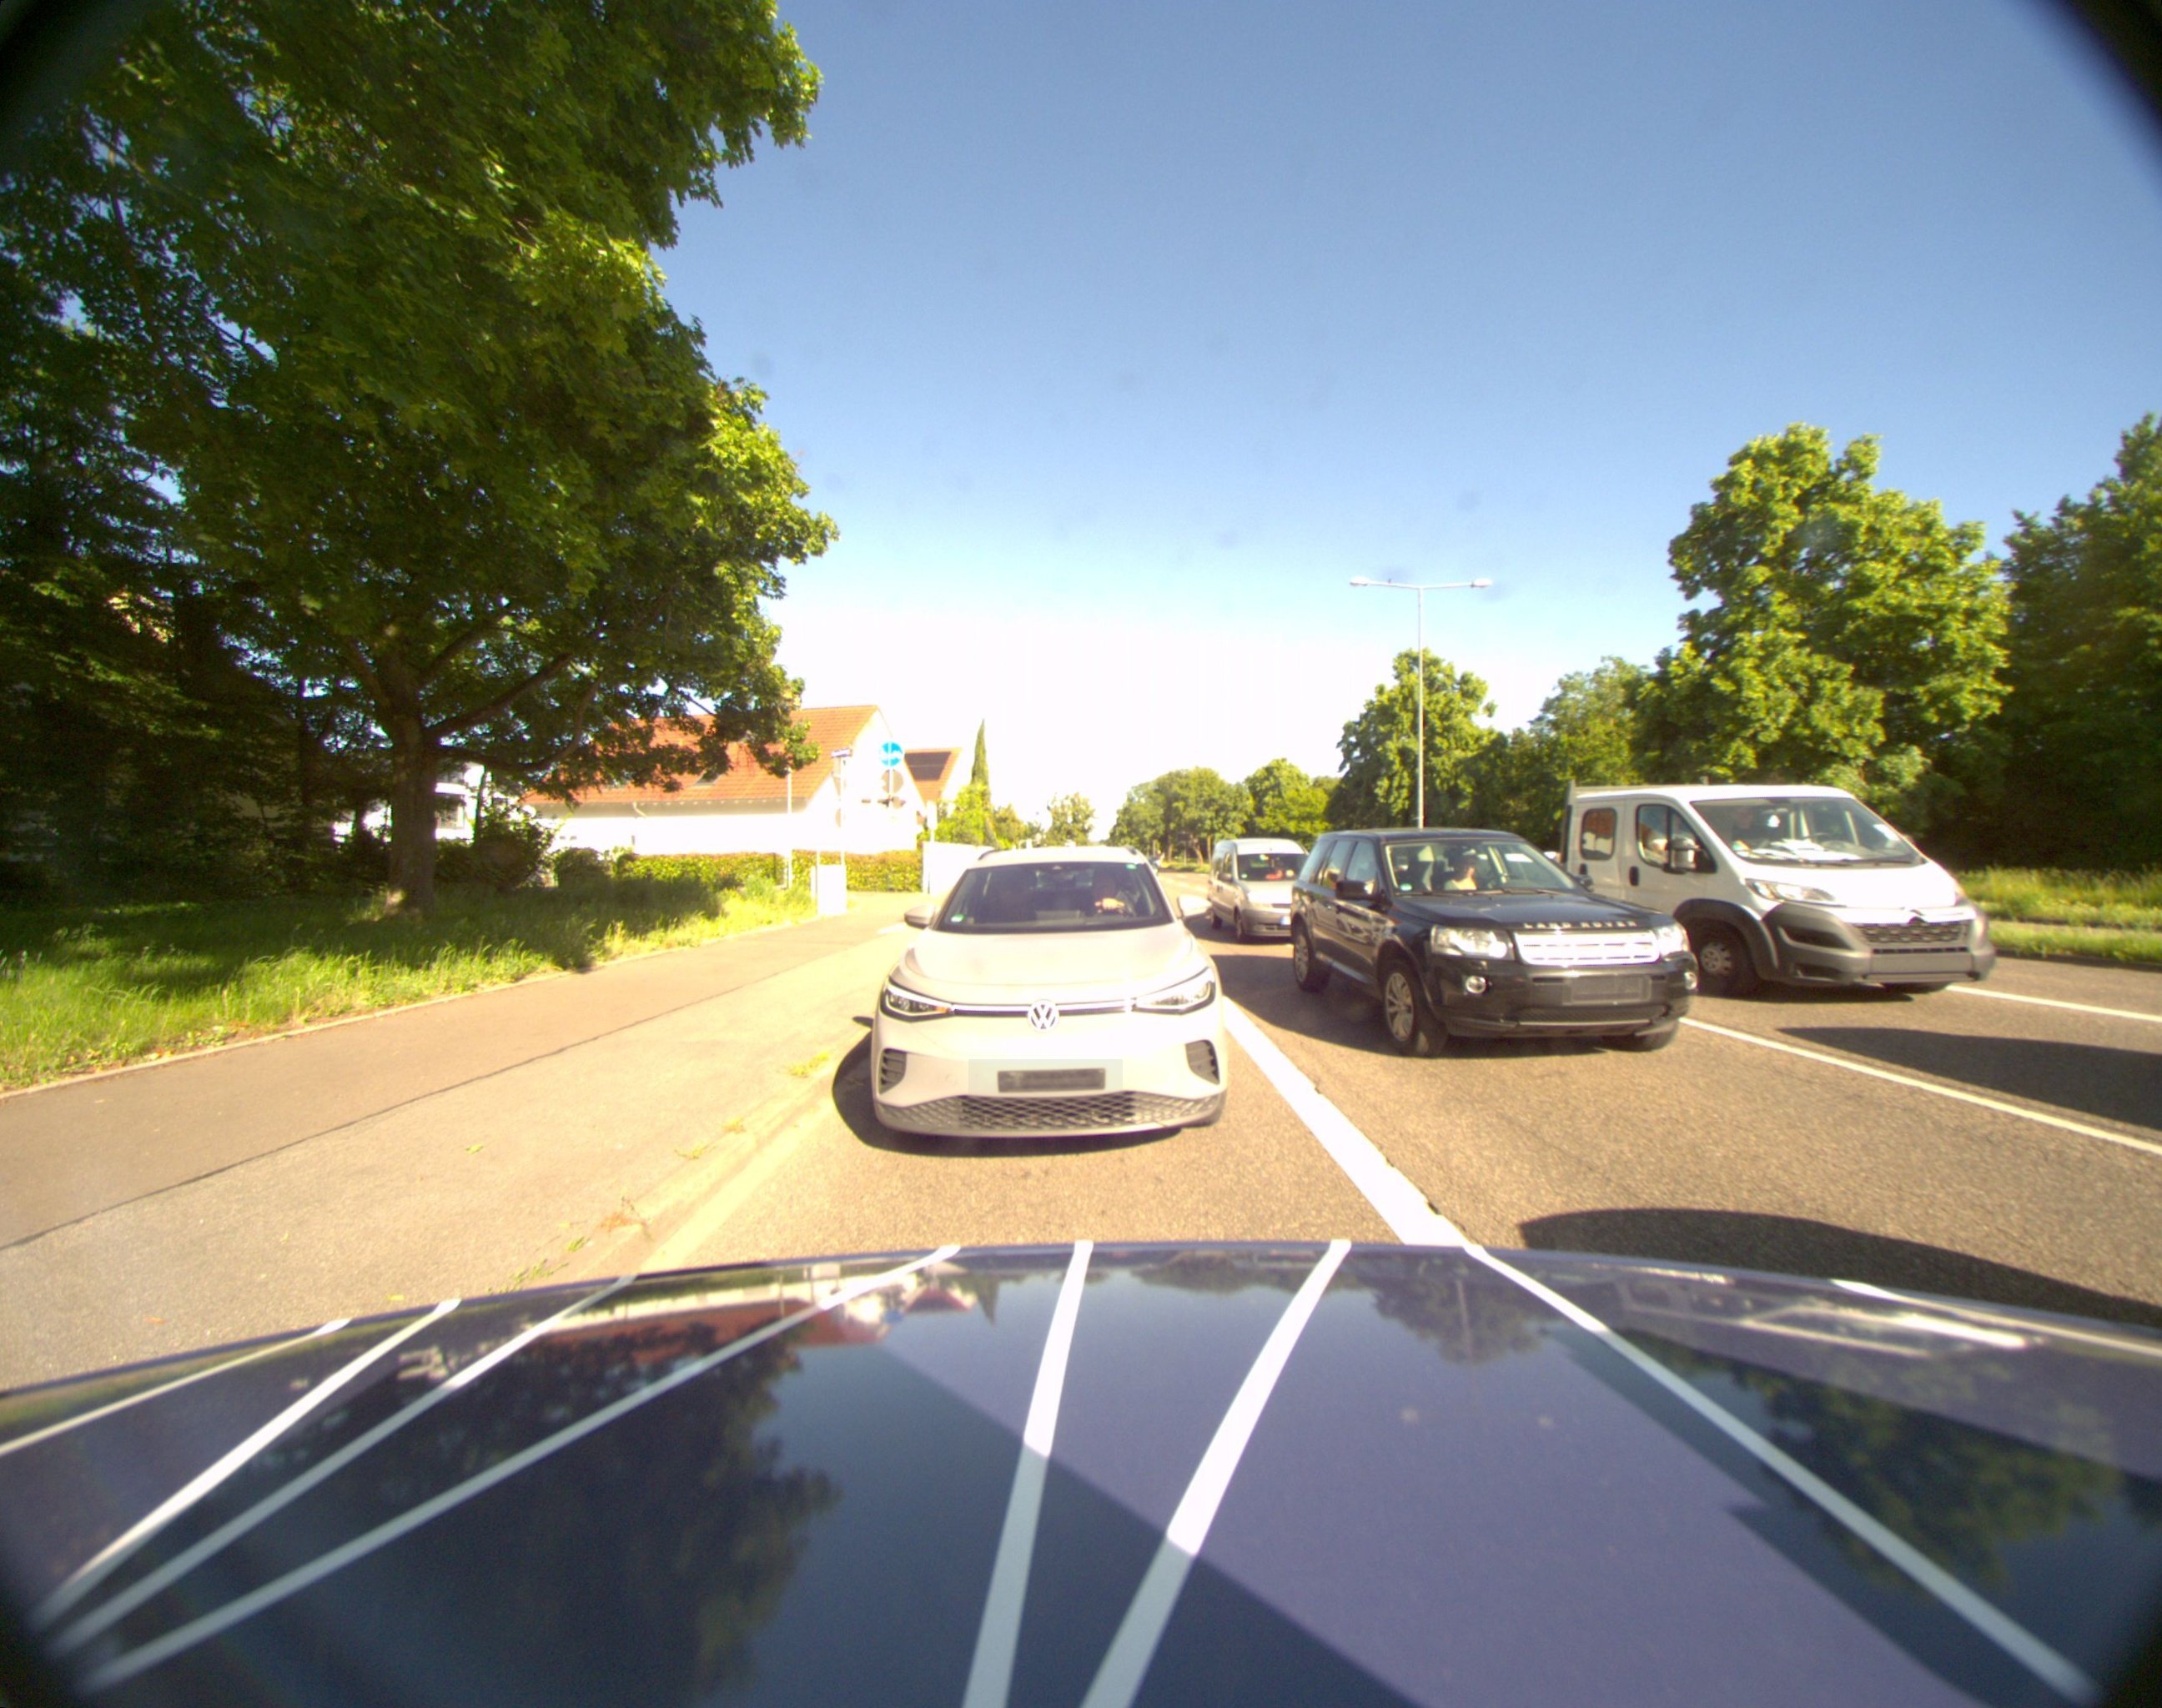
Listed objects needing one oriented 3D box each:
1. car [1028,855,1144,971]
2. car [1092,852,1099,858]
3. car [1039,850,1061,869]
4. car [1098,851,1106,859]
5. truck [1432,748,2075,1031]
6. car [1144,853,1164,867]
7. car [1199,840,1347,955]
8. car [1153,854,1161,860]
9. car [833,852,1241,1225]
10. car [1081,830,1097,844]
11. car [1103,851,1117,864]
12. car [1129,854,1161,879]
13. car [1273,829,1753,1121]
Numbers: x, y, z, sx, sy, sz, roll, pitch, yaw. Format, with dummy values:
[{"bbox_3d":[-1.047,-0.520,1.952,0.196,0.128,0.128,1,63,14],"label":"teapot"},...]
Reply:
[{"bbox_3d":[0.103,0.860,13.022,1.632,1.586,4.024,-2,1,1],"label":"car"},{"bbox_3d":[3.981,0.368,208.495,1.726,1.630,4.000,0,0,1],"label":"car"},{"bbox_3d":[-2.542,0.452,63.283,1.630,1.523,3.931,-1,0,0],"label":"car"},{"bbox_3d":[4.489,0.160,163.569,1.726,1.630,4.000,0,0,1],"label":"car"},{"bbox_3d":[7.206,0.263,9.767,2.185,2.307,6.842,-2,1,0],"label":"truck"},{"bbox_3d":[8.015,0.651,83.545,1.727,1.436,3.999,0,0,-2],"label":"car"},{"bbox_3d":[3.319,0.647,13.969,1.632,1.741,4.386,-2,1,1],"label":"car"},{"bbox_3d":[21.562,0.726,216.043,1.878,1.674,4.000,0,0,1],"label":"car"},{"bbox_3d":[-0.176,0.843,5.579,1.858,1.679,4.206,0,1,1],"label":"car"},{"bbox_3d":[0.948,-1.897,84.737,1.726,1.392,4.000,0,0,1],"label":"car"},{"bbox_3d":[3.782,0.452,98.337,1.726,1.630,4.000,0,0,1],"label":"car"},{"bbox_3d":[3.899,0.737,47.079,1.630,1.466,3.931,-2,0,0],"label":"car"},{"bbox_3d":[3.160,0.709,6.774,1.816,1.721,4.386,-2,1,1],"label":"car"}]
